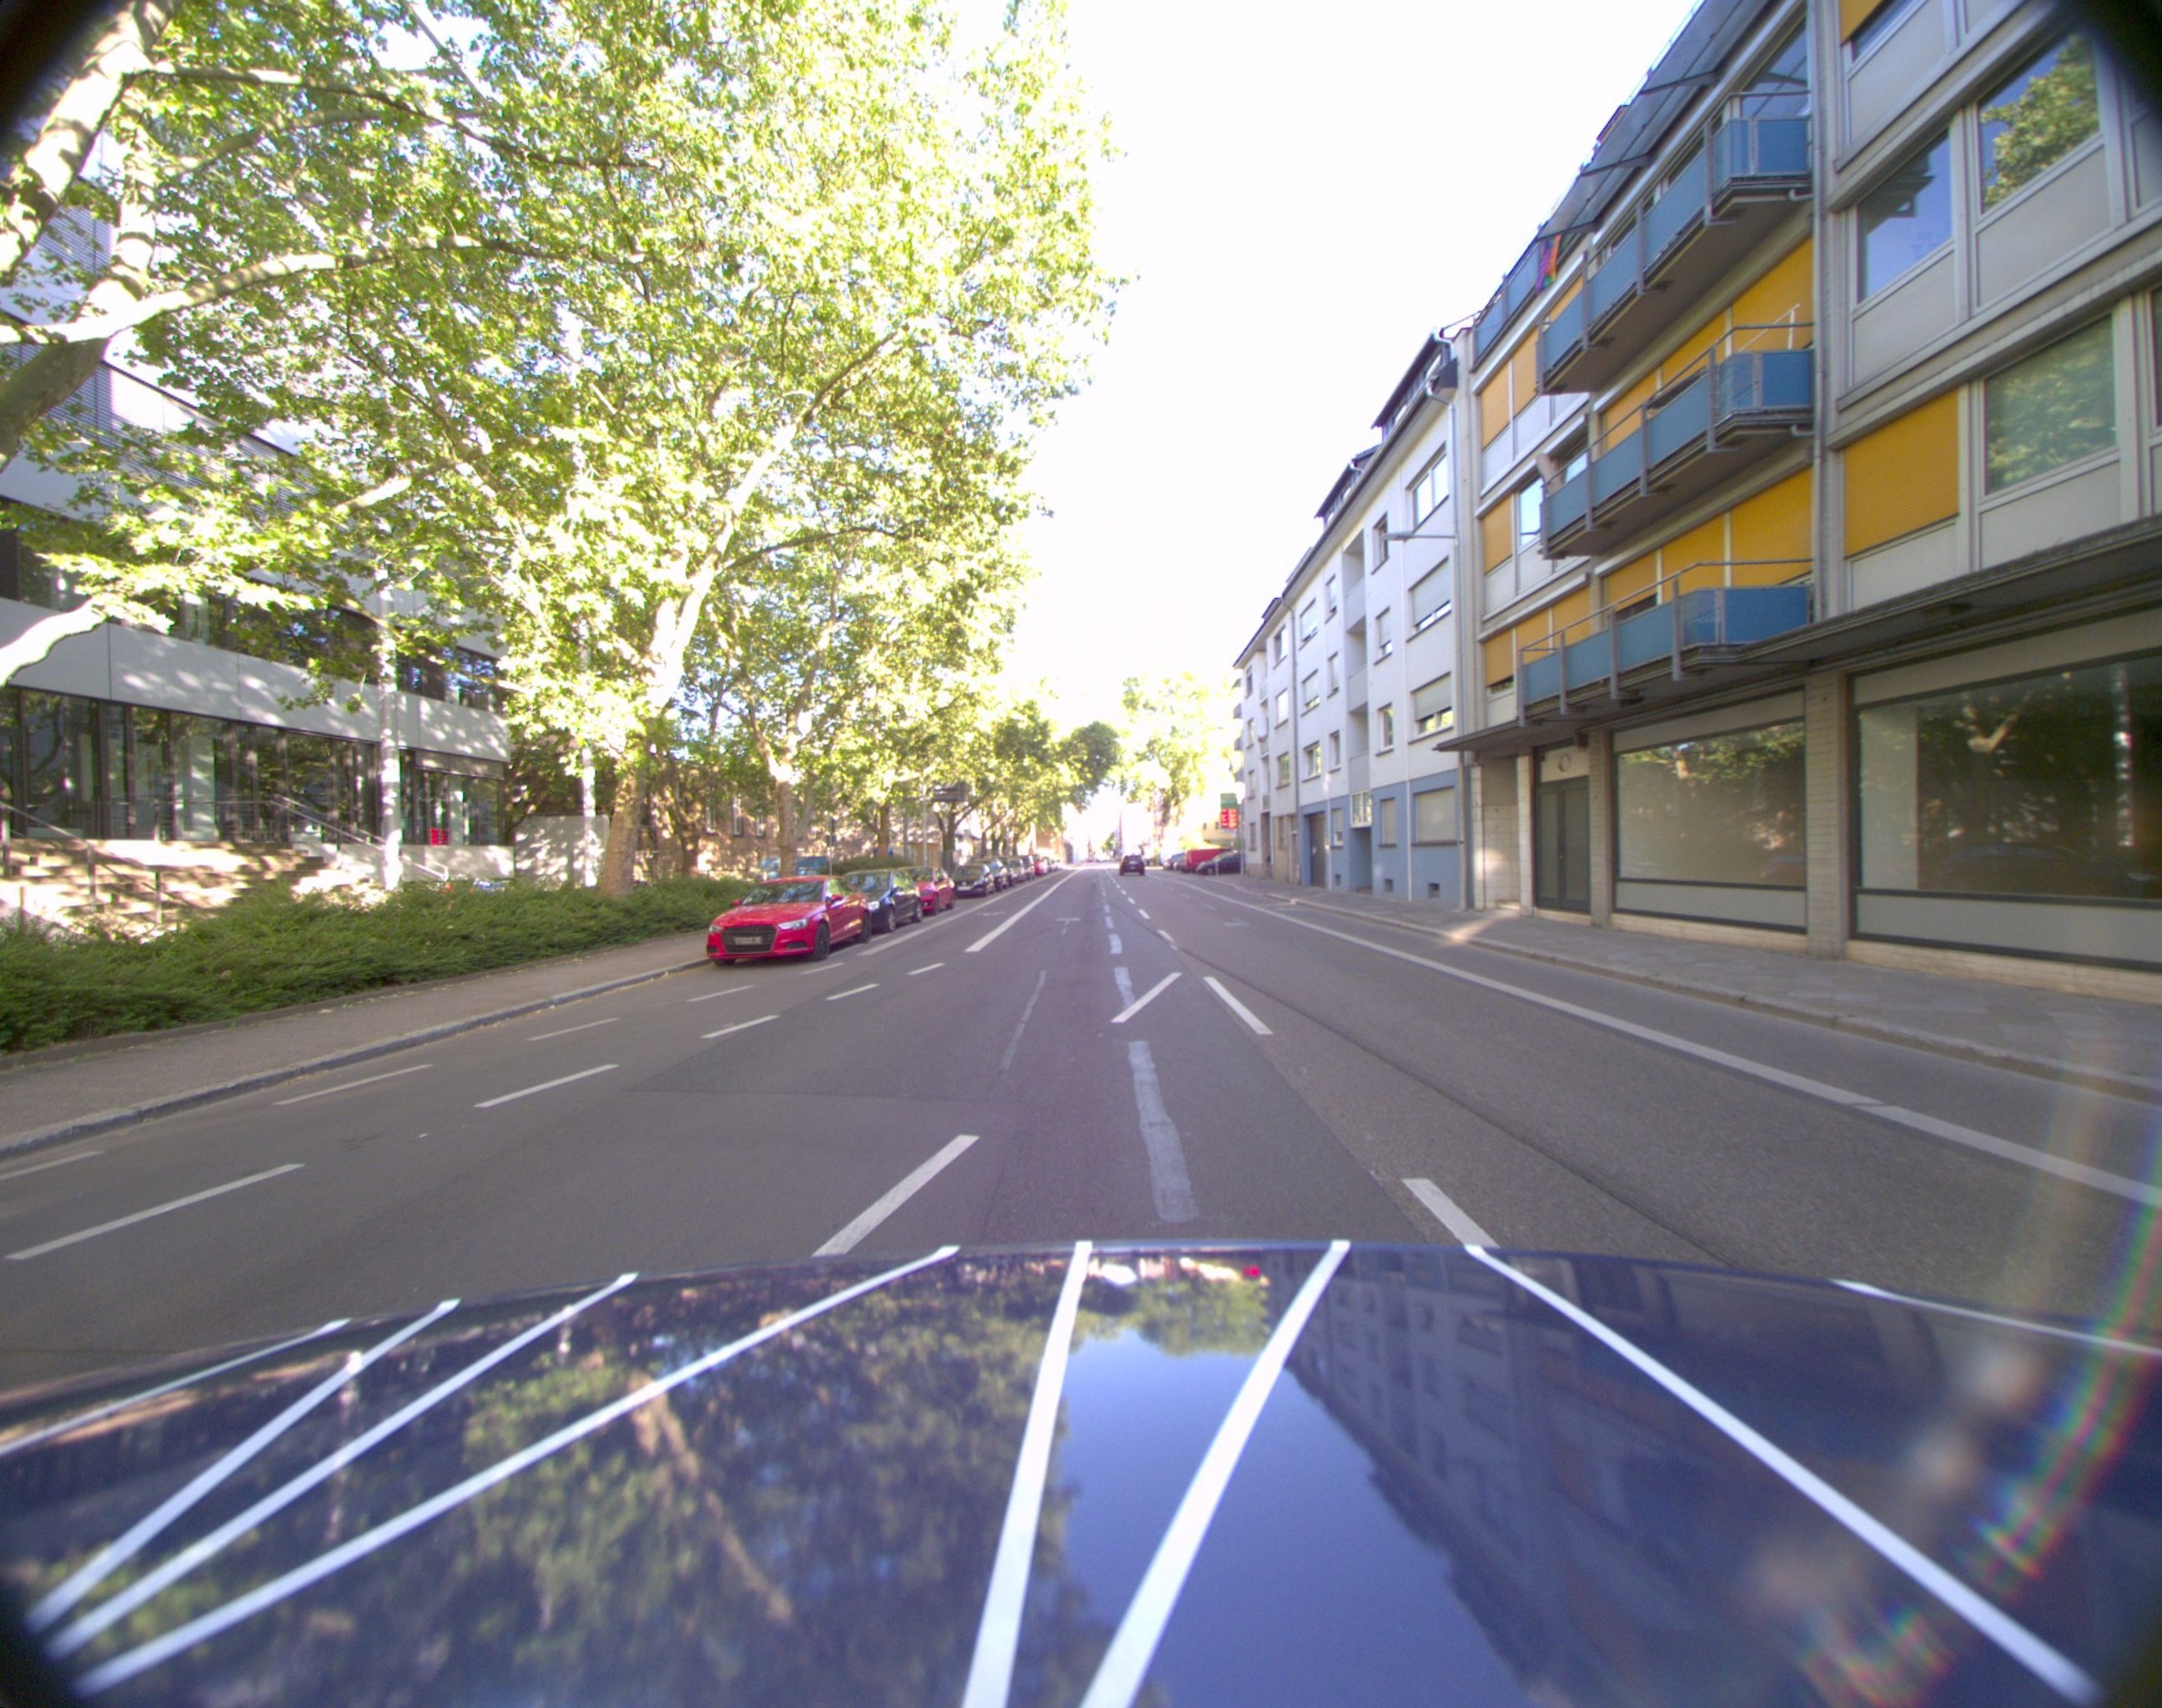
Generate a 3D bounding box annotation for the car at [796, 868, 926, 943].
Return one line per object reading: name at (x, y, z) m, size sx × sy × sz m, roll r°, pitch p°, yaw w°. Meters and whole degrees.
car at (-5.173, 1.165, 18.430) m, size 1.998 × 1.452 × 3.644 m, roll -2°, pitch 1°, yaw 1°

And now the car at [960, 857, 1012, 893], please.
car at (-4.687, 1.002, 38.118) m, size 1.998 × 1.592 × 4.142 m, roll -2°, pitch 1°, yaw 1°

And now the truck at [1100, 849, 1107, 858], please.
truck at (6.866, -0.306, 233.823) m, size 1.998 × 2.653 × 5.314 m, roll -2°, pitch 1°, yaw 0°

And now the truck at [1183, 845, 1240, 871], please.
truck at (10.283, 0.317, 60.216) m, size 4.092 × 1.913 × 2.000 m, roll -2°, pitch 1°, yaw 0°

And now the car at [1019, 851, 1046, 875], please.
car at (-4.228, 0.735, 66.328) m, size 1.998 × 1.960 × 3.999 m, roll -2°, pitch 1°, yaw 1°

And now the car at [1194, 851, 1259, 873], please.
car at (10.452, 0.569, 54.783) m, size 4.324 × 1.398 × 1.658 m, roll -2°, pitch 1°, yaw 0°

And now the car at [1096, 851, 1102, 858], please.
car at (6.153, 0.180, 259.454) m, size 1.998 × 2.002 × 3.999 m, roll -2°, pitch 1°, yaw 1°

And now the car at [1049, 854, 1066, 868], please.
car at (-3.191, 0.901, 103.007) m, size 1.998 × 1.682 × 3.999 m, roll -2°, pitch 1°, yaw 1°

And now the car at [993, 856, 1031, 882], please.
car at (-4.572, 0.964, 50.865) m, size 1.998 × 1.557 × 4.142 m, roll -2°, pitch 1°, yaw 1°

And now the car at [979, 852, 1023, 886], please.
car at (-4.611, 0.835, 44.516) m, size 1.998 × 1.777 × 4.572 m, roll -2°, pitch 1°, yaw 1°

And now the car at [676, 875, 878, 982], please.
car at (-5.189, 1.194, 13.637) m, size 1.907 × 1.417 × 3.999 m, roll -2°, pitch 1°, yaw 1°

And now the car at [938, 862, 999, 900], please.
car at (-4.841, 1.128, 33.178) m, size 1.998 × 1.447 × 3.589 m, roll -2°, pitch 1°, yaw 1°

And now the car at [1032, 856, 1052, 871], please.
car at (-4.142, 0.983, 80.748) m, size 1.824 × 1.466 × 3.999 m, roll -2°, pitch 1°, yaw 1°

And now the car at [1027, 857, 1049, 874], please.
car at (-4.041, 1.077, 71.996) m, size 1.824 × 1.466 × 3.999 m, roll -2°, pitch 1°, yaw 1°

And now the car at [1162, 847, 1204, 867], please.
car at (10.859, 0.280, 80.913) m, size 4.236 × 1.945 × 2.000 m, roll -2°, pitch 1°, yaw 3°

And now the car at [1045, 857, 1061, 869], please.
car at (-3.352, 1.065, 92.737) m, size 1.693 × 1.364 × 3.999 m, roll -2°, pitch 1°, yaw 1°

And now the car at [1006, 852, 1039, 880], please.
car at (-4.259, 0.840, 55.638) m, size 1.998 × 1.838 × 3.999 m, roll -2°, pitch 1°, yaw 1°

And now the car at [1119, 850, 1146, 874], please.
car at (3.856, 0.577, 57.520) m, size 1.847 × 1.668 × 3.999 m, roll -1°, pitch 1°, yaw 1°

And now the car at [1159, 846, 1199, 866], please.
car at (10.945, 0.214, 85.313) m, size 4.236 × 2.025 × 2.000 m, roll -2°, pitch 1°, yaw 3°

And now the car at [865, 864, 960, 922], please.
car at (-5.131, 1.146, 23.667) m, size 1.998 × 1.490 × 3.828 m, roll -2°, pitch 1°, yaw 1°

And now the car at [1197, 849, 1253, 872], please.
car at (10.797, 0.448, 57.114) m, size 3.810 × 1.563 × 1.658 m, roll -2°, pitch 1°, yaw 0°
